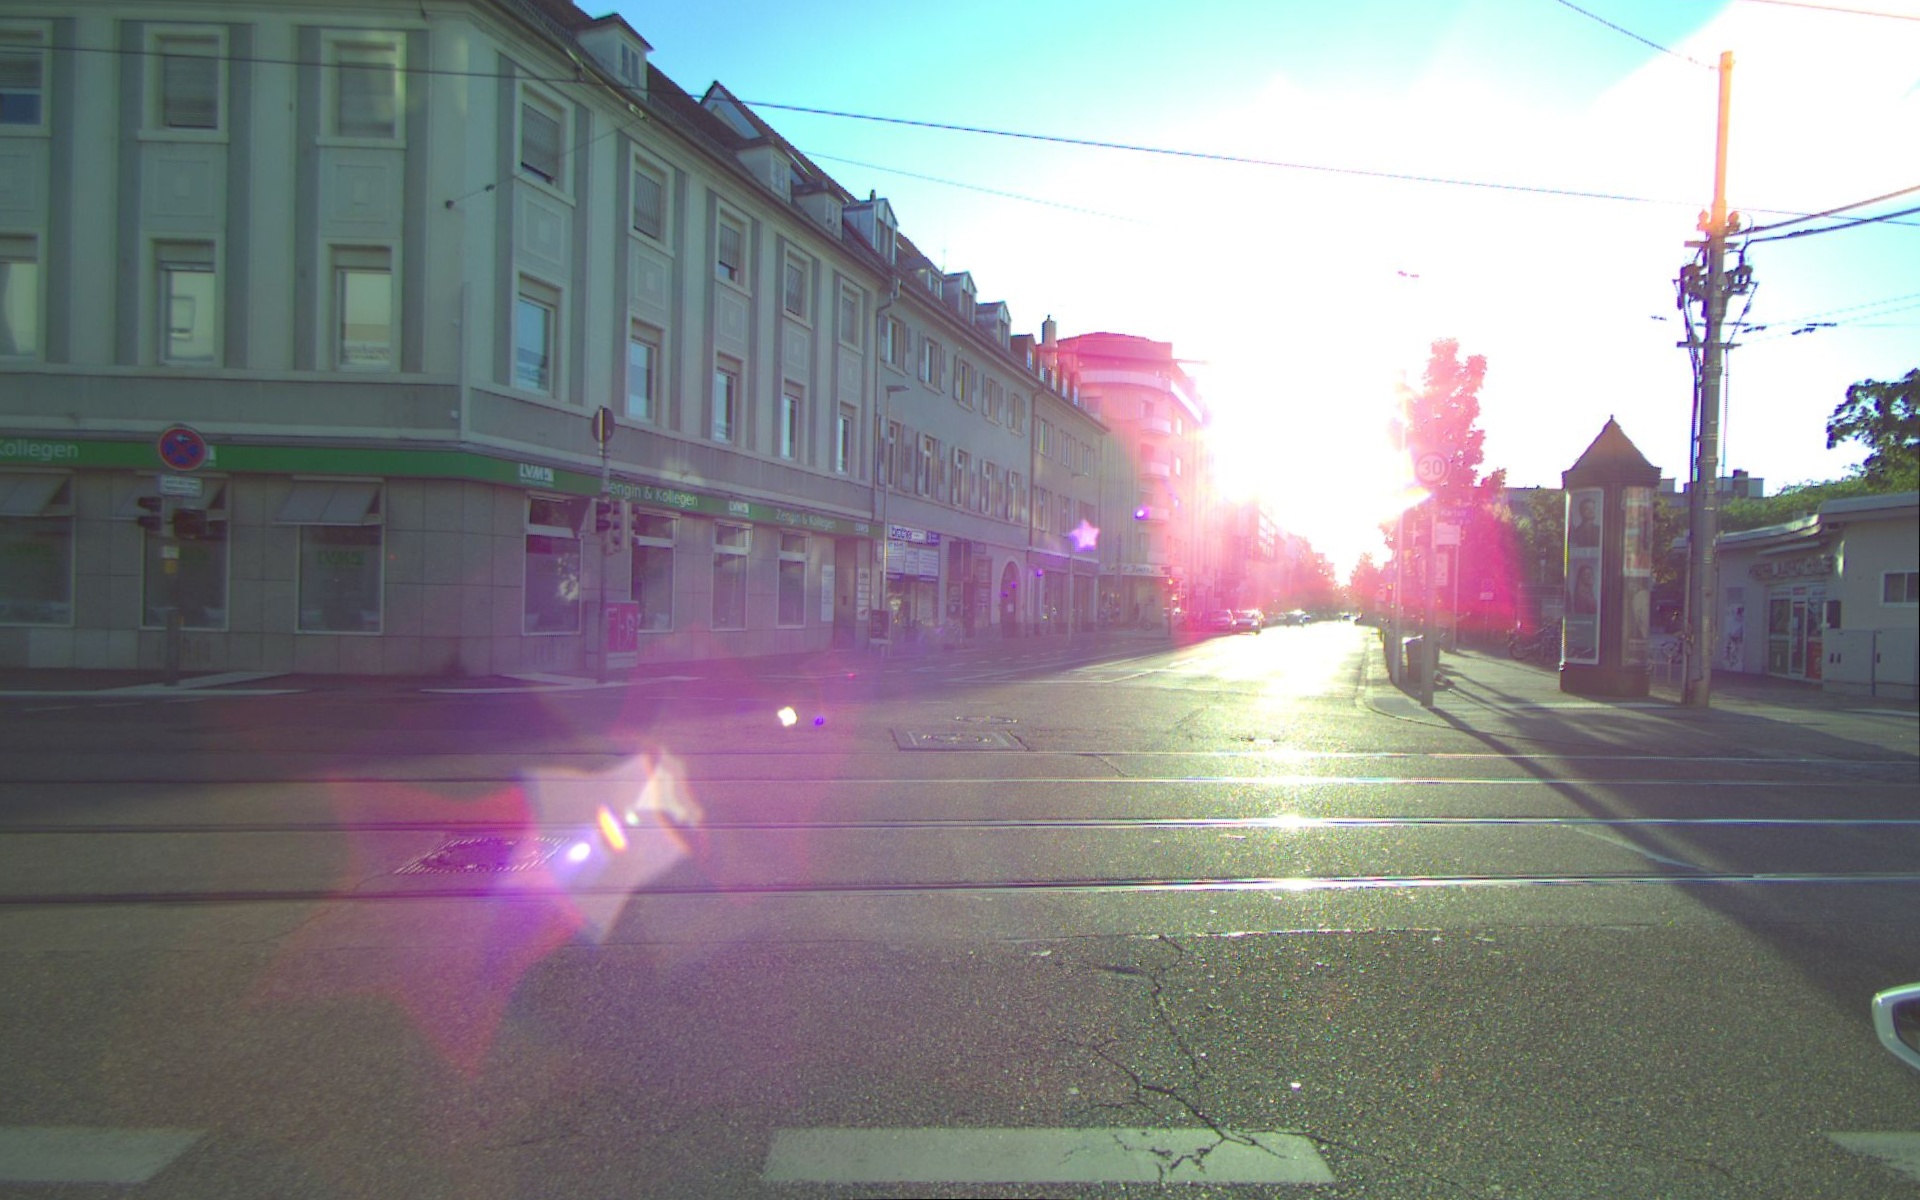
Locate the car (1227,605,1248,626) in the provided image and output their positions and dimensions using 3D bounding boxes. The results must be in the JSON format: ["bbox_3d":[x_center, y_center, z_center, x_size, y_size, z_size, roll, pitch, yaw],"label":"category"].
[{"bbox_3d":[22.425,1.258,81.229,1.286,1.603,2.888,2,0,22],"label":"car"}]

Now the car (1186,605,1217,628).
[{"bbox_3d":[16.162,1.113,67.246,1.520,1.503,3.351,1,0,22],"label":"car"}]

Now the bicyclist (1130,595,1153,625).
[{"bbox_3d":[11.390,0.607,63.181,1.116,1.814,0.761,3,0,41],"label":"bicyclist"}]

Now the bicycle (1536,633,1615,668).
[{"bbox_3d":[19.069,1.546,31.169,2.048,0.995,0.559,1,-1,31],"label":"bicycle"}]

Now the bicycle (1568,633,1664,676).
[{"bbox_3d":[17.486,1.447,26.829,2.116,1.057,0.559,1,-1,31],"label":"bicycle"}]

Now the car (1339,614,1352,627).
[{"bbox_3d":[64.832,3.431,169.002,1.961,2.040,3.999,3,0,22],"label":"car"}]

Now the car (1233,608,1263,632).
[{"bbox_3d":[18.727,1.282,65.240,1.520,1.487,3.351,2,-1,22],"label":"car"}]

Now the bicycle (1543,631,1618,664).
[{"bbox_3d":[19.959,1.522,32.344,2.009,0.990,0.559,1,-1,31],"label":"bicycle"}]

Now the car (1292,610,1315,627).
[{"bbox_3d":[36.806,1.987,107.553,1.962,1.706,3.997,1,0,24],"label":"car"}]

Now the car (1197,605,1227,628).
[{"bbox_3d":[17.720,1.161,70.540,1.520,1.488,3.351,2,-1,22],"label":"car"}]

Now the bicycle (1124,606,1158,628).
[{"bbox_3d":[11.355,1.062,63.141,2.092,1.220,0.498,3,0,41],"label":"bicycle"}]

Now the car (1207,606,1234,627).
[{"bbox_3d":[19.498,1.234,75.192,1.520,1.488,3.351,2,-1,22],"label":"car"}]

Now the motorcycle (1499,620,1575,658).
[{"bbox_3d":[19.670,1.327,34.305,2.201,1.217,0.719,1,0,29],"label":"motorcycle"}]

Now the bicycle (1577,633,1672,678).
[{"bbox_3d":[17.020,1.407,25.771,1.991,1.058,0.559,1,-1,31],"label":"bicycle"}]
